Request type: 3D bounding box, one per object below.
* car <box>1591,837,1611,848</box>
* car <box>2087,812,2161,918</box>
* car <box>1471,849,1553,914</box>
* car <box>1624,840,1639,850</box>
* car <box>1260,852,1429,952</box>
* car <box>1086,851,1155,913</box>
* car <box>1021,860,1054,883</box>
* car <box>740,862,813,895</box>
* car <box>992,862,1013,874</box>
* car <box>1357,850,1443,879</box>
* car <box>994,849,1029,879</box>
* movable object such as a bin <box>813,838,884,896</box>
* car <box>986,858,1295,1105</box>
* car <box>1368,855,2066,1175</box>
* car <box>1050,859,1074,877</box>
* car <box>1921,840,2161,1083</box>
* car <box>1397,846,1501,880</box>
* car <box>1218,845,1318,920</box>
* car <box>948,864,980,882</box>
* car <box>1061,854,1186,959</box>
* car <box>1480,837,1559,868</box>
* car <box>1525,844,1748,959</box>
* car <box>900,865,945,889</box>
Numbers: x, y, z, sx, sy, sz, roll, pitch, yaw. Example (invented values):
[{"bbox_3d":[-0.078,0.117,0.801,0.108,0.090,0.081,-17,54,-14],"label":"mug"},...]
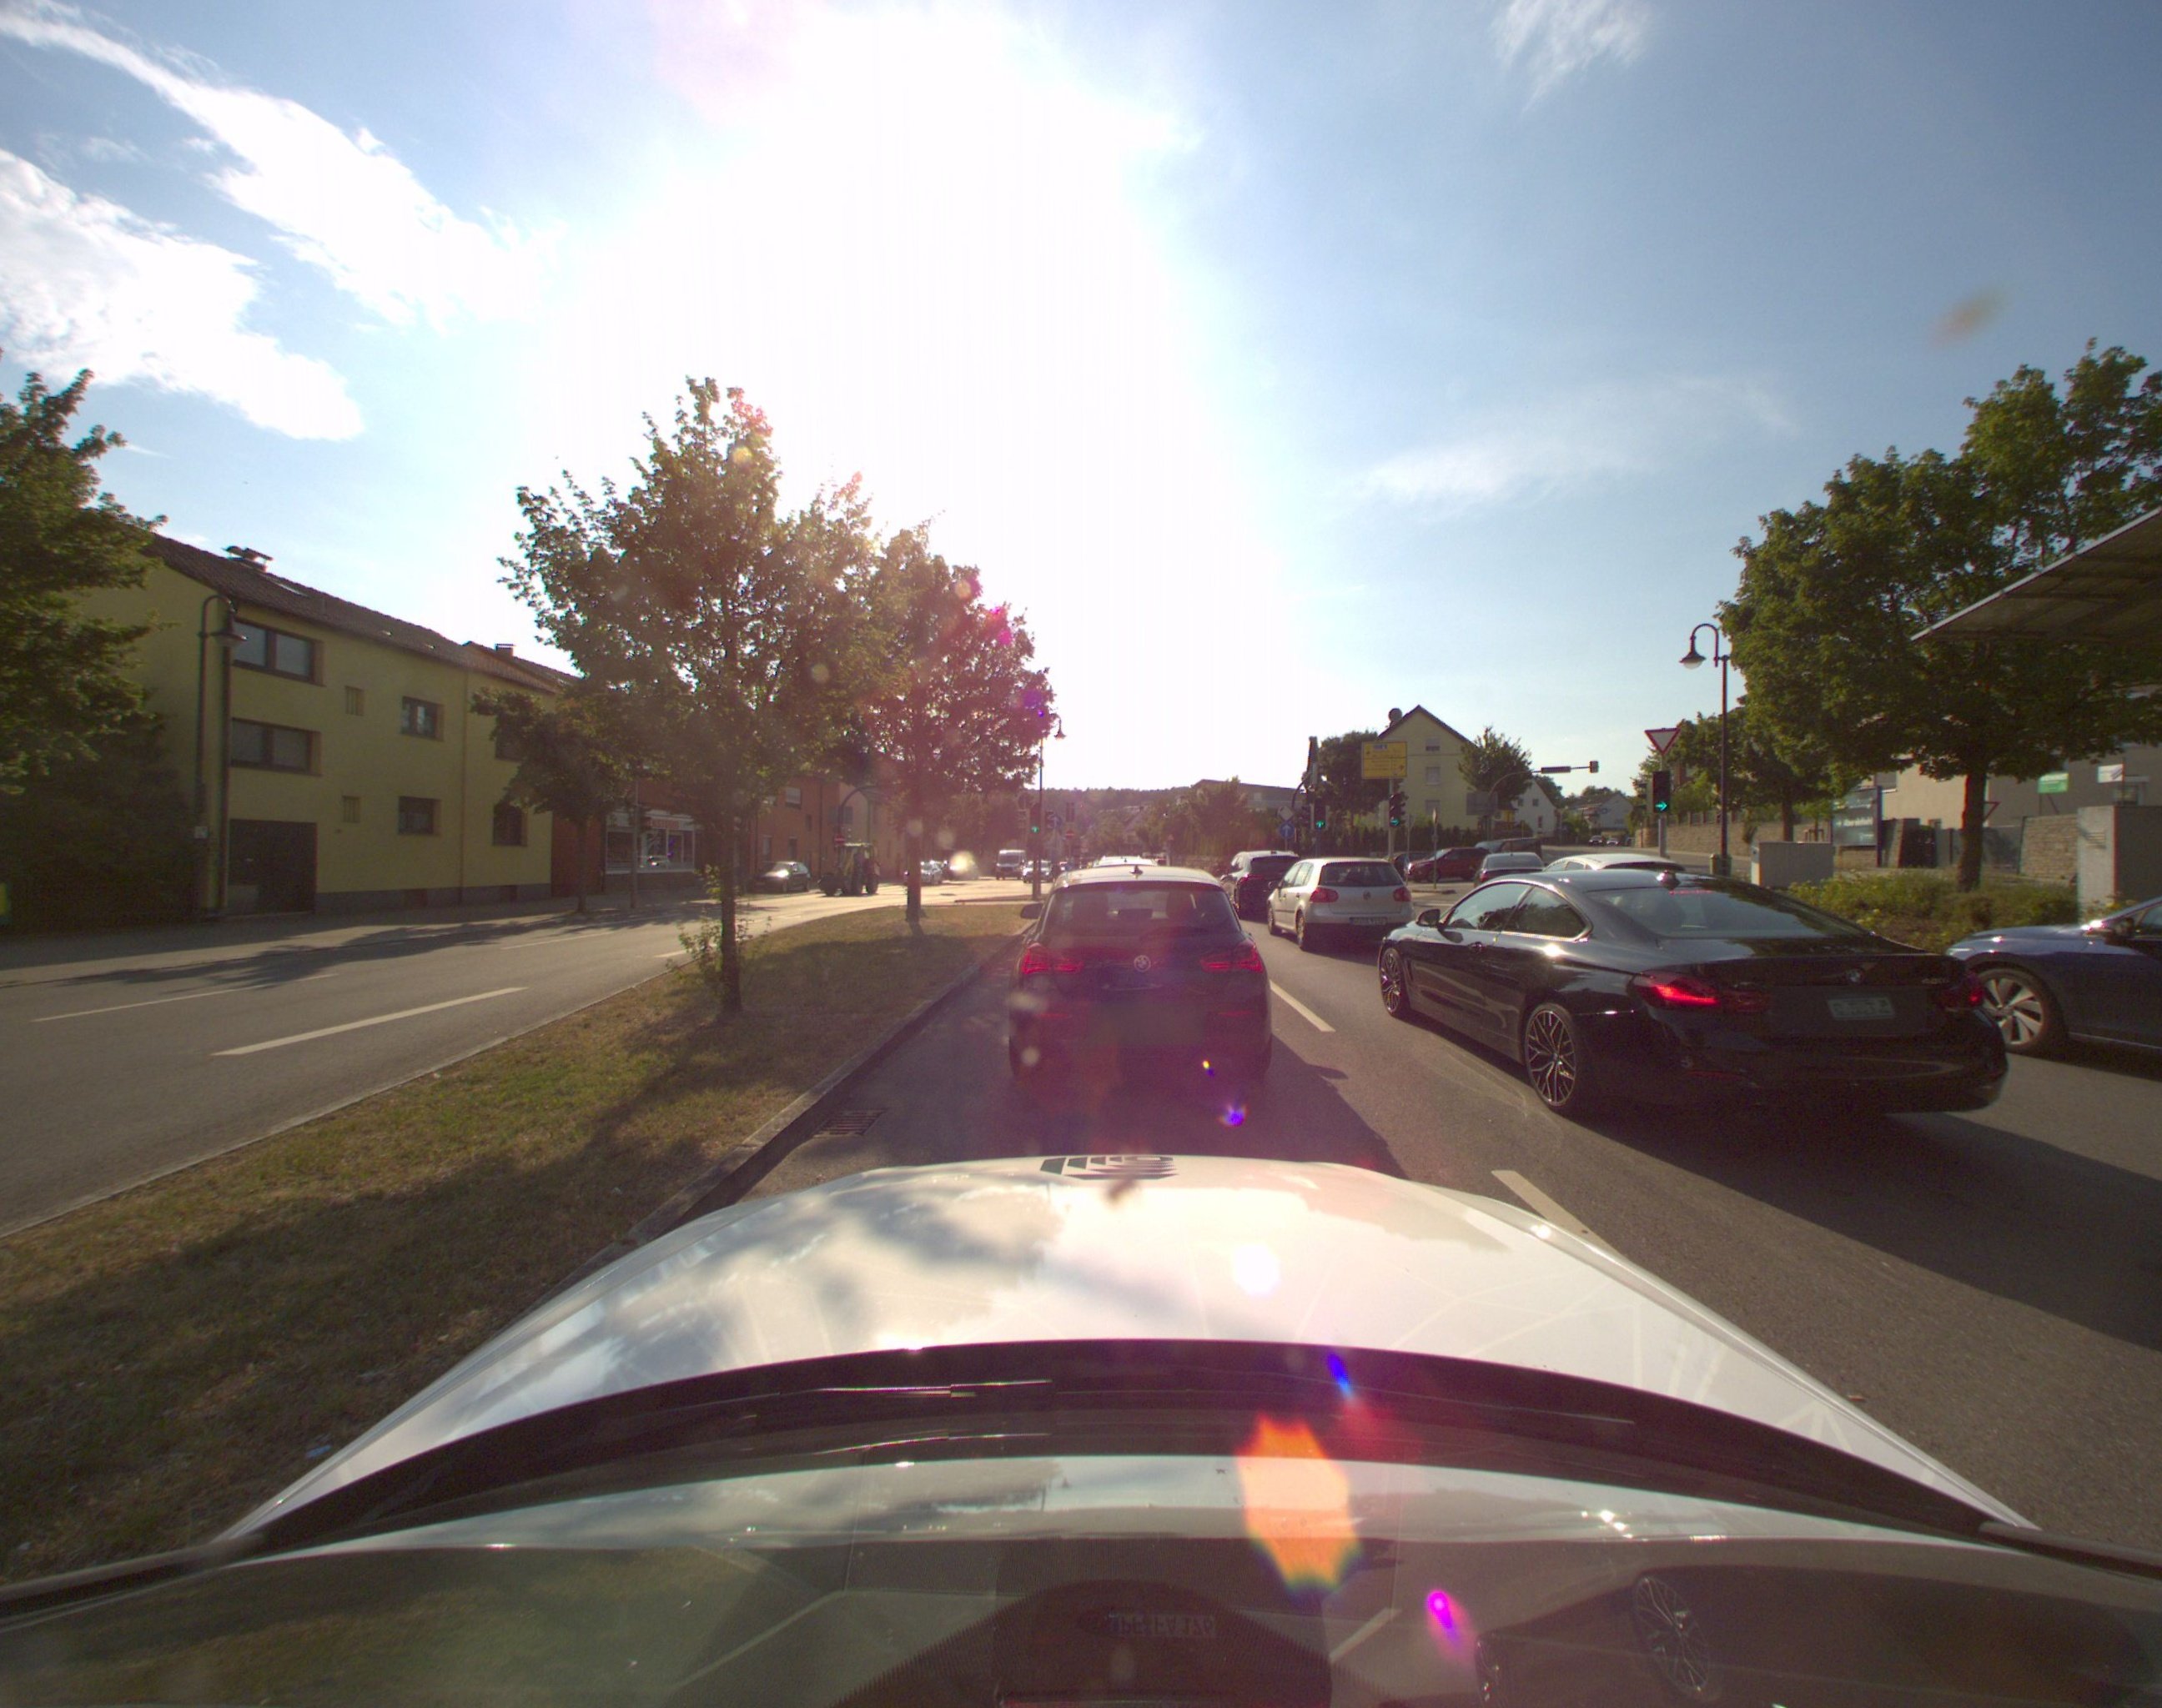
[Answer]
[{"bbox_3d":[82.419,-1.775,129.006,1.946,1.680,4.241,-2,0,41],"label":"car"},{"bbox_3d":[18.497,0.152,12.391,3.793,1.632,1.784,0,0,10],"label":"car"},{"bbox_3d":[11.445,0.666,21.844,1.641,1.542,4.424,-2,0,25],"label":"car"},{"bbox_3d":[98.298,-1.548,145.424,1.945,1.680,4.242,-2,0,36],"label":"car"},{"bbox_3d":[4.337,0.713,14.024,1.755,1.426,3.905,-2,0,2],"label":"car"},{"bbox_3d":[1.142,0.739,23.772,1.781,1.594,4.283,-2,0,2],"label":"car"},{"bbox_3d":[-2.948,1.150,55.744,1.832,1.482,4.002,-1,0,2],"label":"car"},{"bbox_3d":[-14.135,1.112,38.039,1.730,1.301,4.002,4,0,2],"label":"car"},{"bbox_3d":[-9.343,1.646,97.575,1.729,1.301,3.804,4,0,5],"label":"car"},{"bbox_3d":[17.349,0.563,44.366,3.974,1.489,1.848,0,0,-1],"label":"car"},{"bbox_3d":[-5.703,0.805,67.450,2.076,2.394,5.533,0,0,3],"label":"car"},{"bbox_3d":[-10.426,0.568,36.833,1.729,2.442,4.452,-1,0,3],"label":"movable object such as a bin"},{"bbox_3d":[0.445,0.770,6.974,1.781,1.397,4.283,-2,0,2],"label":"car"},{"bbox_3d":[3.623,0.736,5.829,1.755,1.397,4.283,-2,0,2],"label":"car"},{"bbox_3d":[-1.675,1.230,73.296,1.832,1.482,4.002,-1,0,2],"label":"car"},{"bbox_3d":[7.438,0.646,4.273,1.754,1.453,4.323,-2,0,4],"label":"car"},{"bbox_3d":[18.353,0.450,40.743,4.410,1.641,1.845,0,0,-6],"label":"car"},{"bbox_3d":[4.594,0.646,20.539,1.755,1.656,3.905,-2,0,2],"label":"car"},{"bbox_3d":[-9.472,1.512,66.207,1.729,1.301,3.804,4,0,5],"label":"car"},{"bbox_3d":[0.722,0.777,14.118,1.781,1.494,4.283,-2,0,2],"label":"car"},{"bbox_3d":[25.328,-0.081,46.985,4.800,1.739,1.830,0,0,-31],"label":"car"},{"bbox_3d":[8.470,0.652,12.772,1.608,1.542,3.326,-2,0,9],"label":"car"},{"bbox_3d":[-10.054,1.453,51.806,1.729,1.301,3.804,4,0,5],"label":"car"}]
